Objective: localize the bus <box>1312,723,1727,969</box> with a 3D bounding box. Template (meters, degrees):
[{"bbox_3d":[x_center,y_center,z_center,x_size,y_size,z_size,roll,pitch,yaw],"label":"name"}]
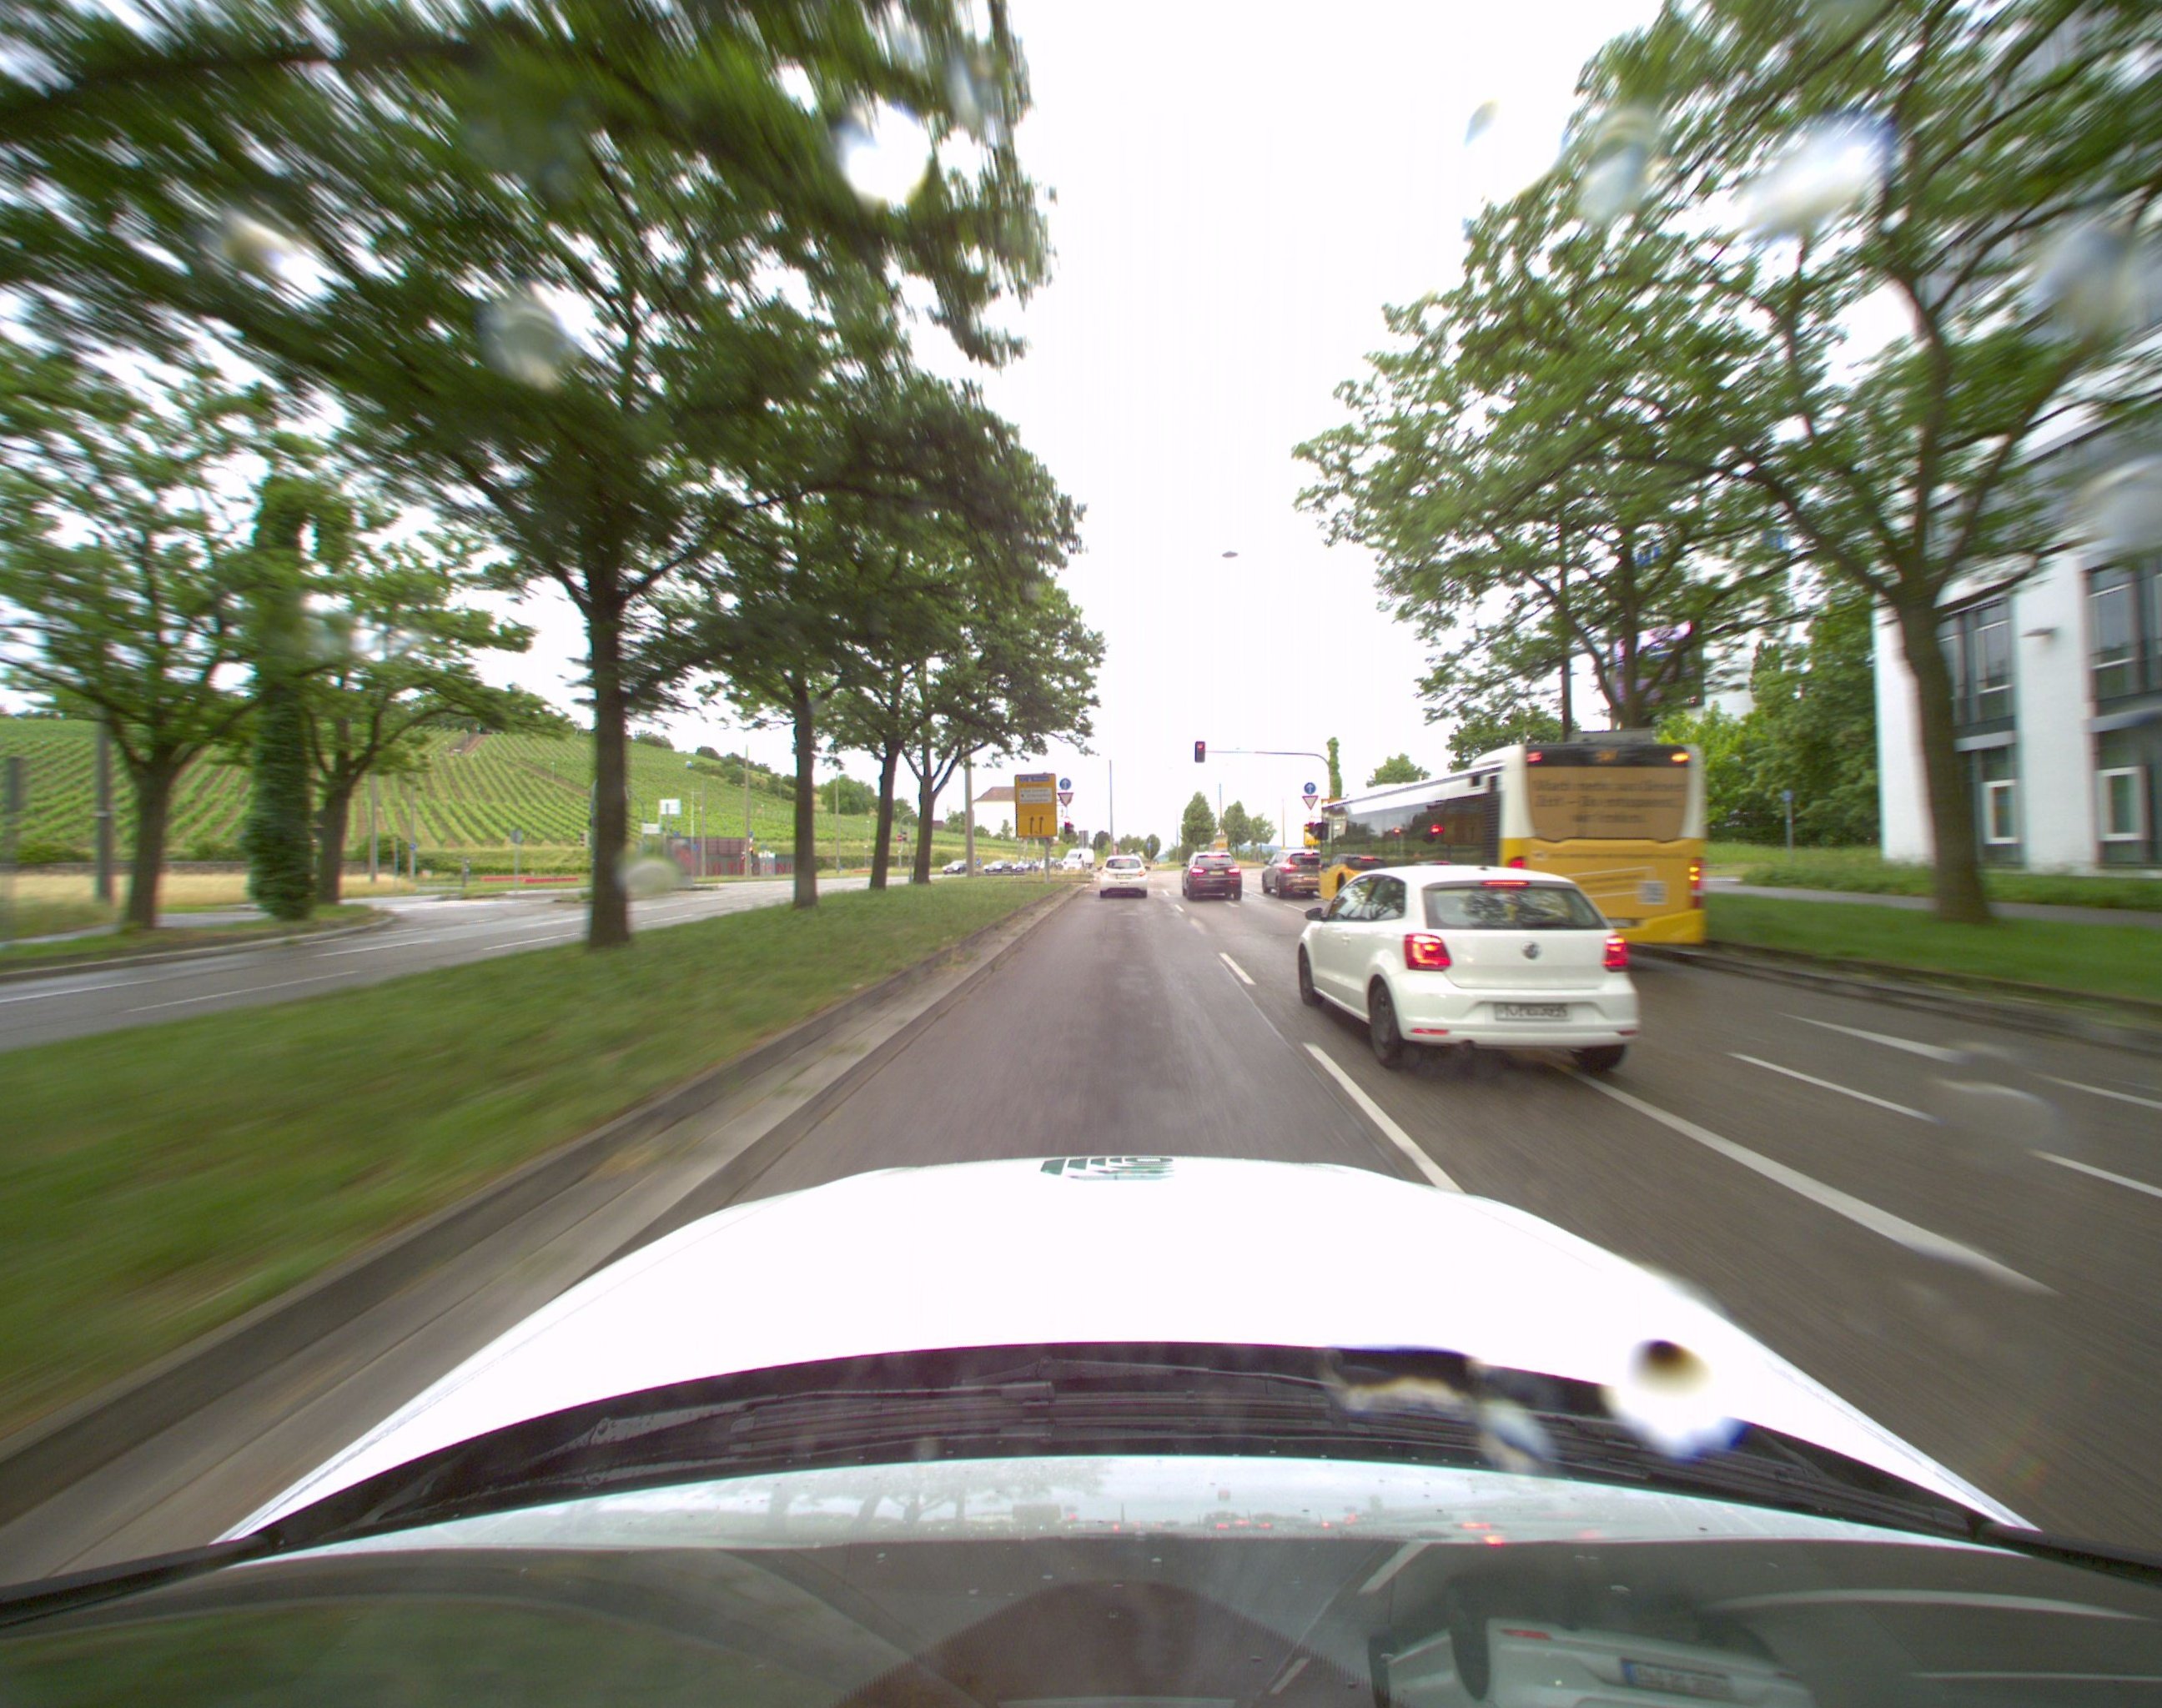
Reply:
[{"bbox_3d":[7.358,-0.181,16.583,2.715,3.152,12.160,0,1,4],"label":"bus"}]

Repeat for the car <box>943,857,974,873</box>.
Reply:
[{"bbox_3d":[-12.826,1.106,85.449,1.818,1.623,4.579,0,0,10],"label":"car"}]

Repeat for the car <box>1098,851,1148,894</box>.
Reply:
[{"bbox_3d":[1.571,0.652,30.063,1.710,1.489,4.004,-1,0,3],"label":"car"}]

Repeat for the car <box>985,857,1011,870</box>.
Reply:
[{"bbox_3d":[-8.821,1.038,86.845,1.775,1.395,3.892,0,-1,10],"label":"car"}]

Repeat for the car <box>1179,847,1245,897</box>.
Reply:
[{"bbox_3d":[4.466,0.606,28.319,1.876,1.595,4.117,1,0,4],"label":"car"}]

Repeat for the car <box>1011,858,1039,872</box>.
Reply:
[{"bbox_3d":[-5.842,1.175,84.707,1.773,1.395,3.896,0,-1,14],"label":"car"}]

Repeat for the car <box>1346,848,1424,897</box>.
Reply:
[{"bbox_3d":[10.383,0.608,27.639,1.847,1.498,4.176,-4,-2,28],"label":"car"}]

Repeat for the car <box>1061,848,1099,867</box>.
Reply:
[{"bbox_3d":[-0.101,0.488,108.110,1.974,2.559,6.208,0,-1,33],"label":"car"}]

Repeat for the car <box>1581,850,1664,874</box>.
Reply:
[{"bbox_3d":[35.707,0.509,53.850,4.479,1.470,2.176,0,-1,30],"label":"car"}]

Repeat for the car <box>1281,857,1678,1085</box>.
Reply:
[{"bbox_3d":[3.012,0.758,7.114,1.734,1.432,3.814,1,0,2],"label":"car"}]

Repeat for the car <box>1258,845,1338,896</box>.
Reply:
[{"bbox_3d":[7.636,0.523,29.084,1.857,1.674,4.569,-1,1,3],"label":"car"}]

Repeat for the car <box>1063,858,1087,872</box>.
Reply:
[{"bbox_3d":[-0.611,1.150,85.182,1.765,1.425,4.385,-2,-1,9],"label":"car"}]
